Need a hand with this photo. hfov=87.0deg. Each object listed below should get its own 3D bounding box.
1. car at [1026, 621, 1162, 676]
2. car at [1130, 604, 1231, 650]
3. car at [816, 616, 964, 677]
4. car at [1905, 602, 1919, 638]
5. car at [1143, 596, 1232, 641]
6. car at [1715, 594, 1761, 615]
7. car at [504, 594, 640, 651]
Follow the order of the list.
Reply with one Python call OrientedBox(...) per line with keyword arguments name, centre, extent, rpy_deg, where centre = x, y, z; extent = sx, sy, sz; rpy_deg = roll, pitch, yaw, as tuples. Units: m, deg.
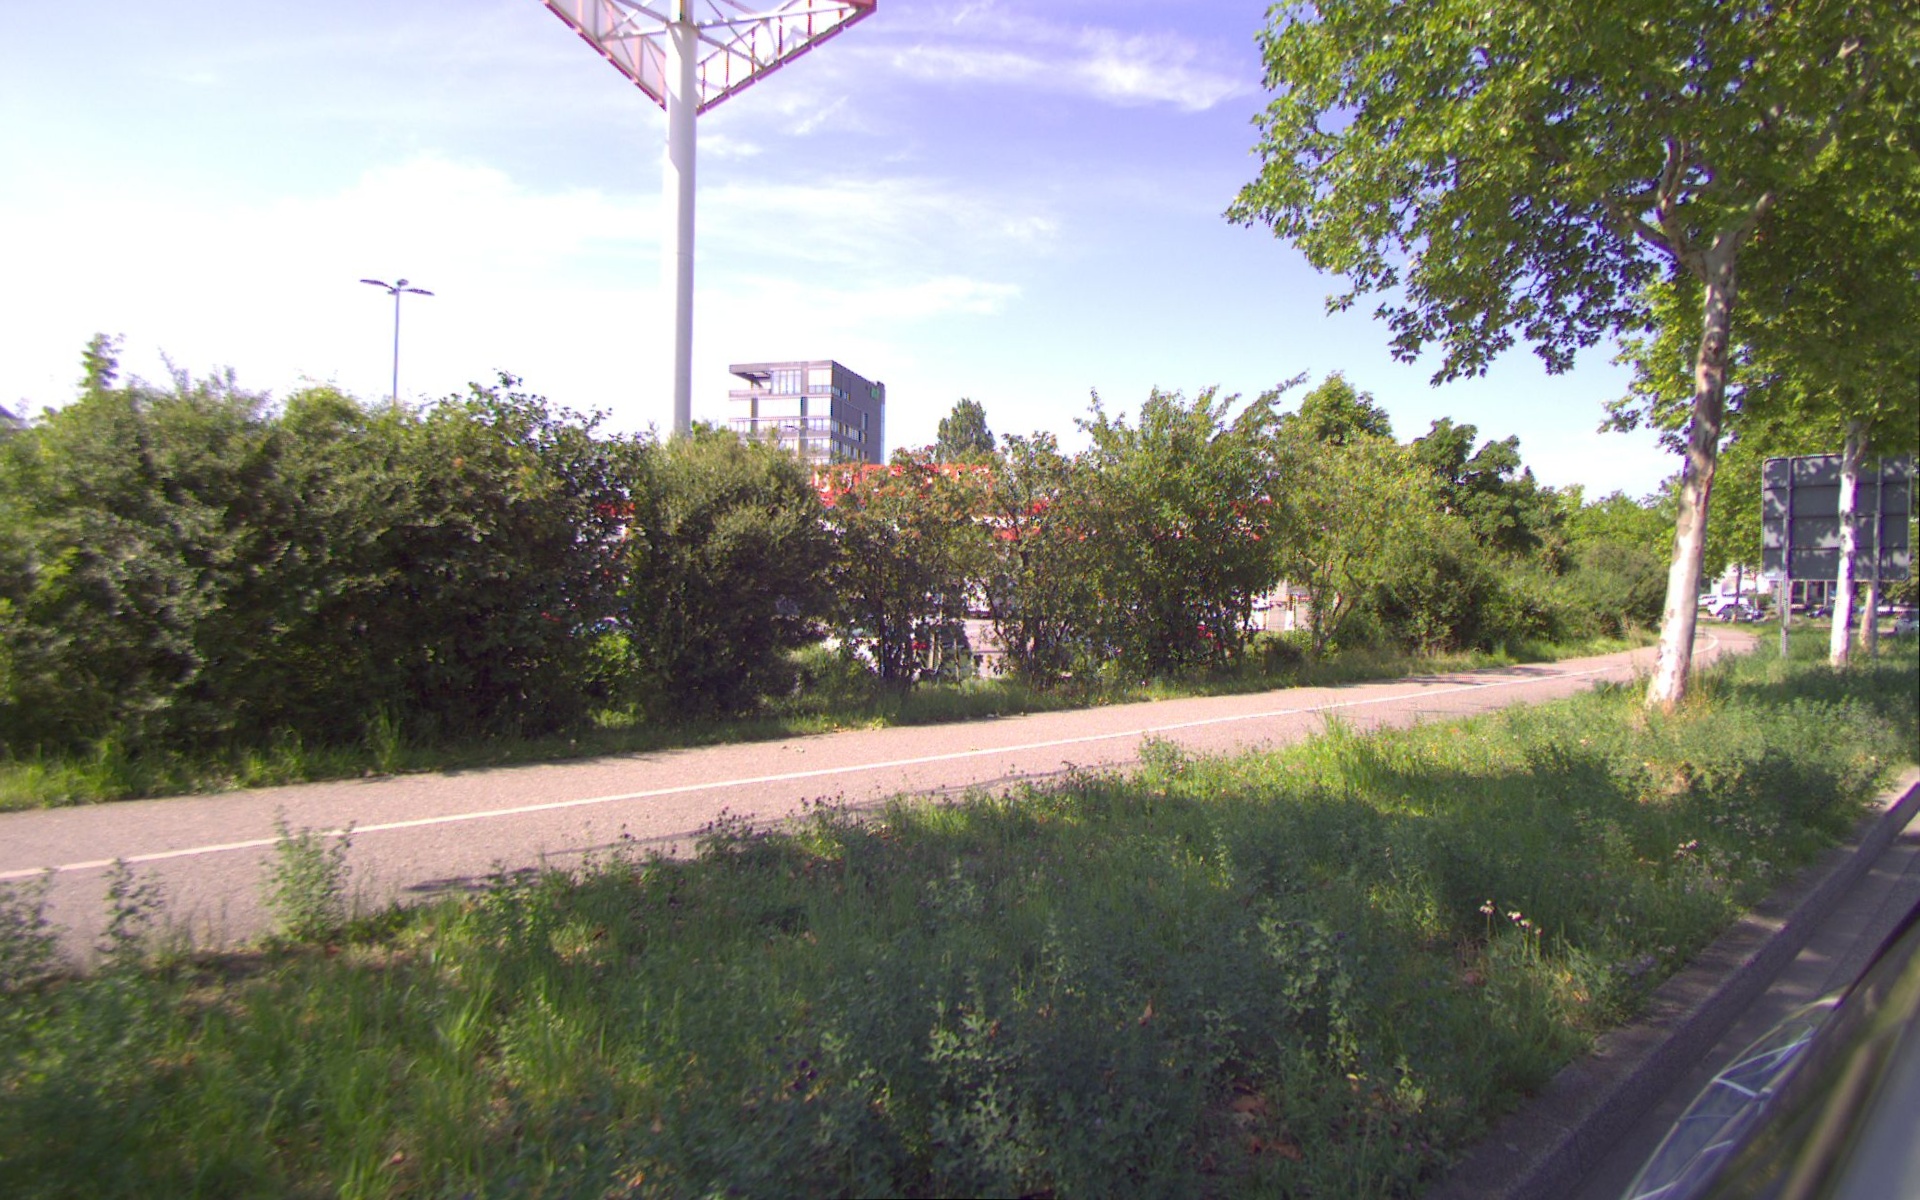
OrientedBox(name="car", centre=(3.732, 1.325, 28.644), extent=(1.711, 1.238, 3.588), rpy_deg=(0, 2, -41))
OrientedBox(name="car", centre=(7.888, 0.953, 36.213), extent=(3.438, 1.545, 1.594), rpy_deg=(-1, 1, 15))
OrientedBox(name="car", centre=(-1.671, 0.996, 22.977), extent=(1.174, 1.240, 3.966), rpy_deg=(0, 0, -41))
OrientedBox(name="car", centre=(43.174, 0.866, 44.463), extent=(1.813, 1.540, 4.156), rpy_deg=(0, 0, 34))
OrientedBox(name="car", centre=(8.651, 0.706, 38.496), extent=(3.190, 1.630, 1.532), rpy_deg=(-1, 1, 15))
OrientedBox(name="car", centre=(79.122, 0.414, 102.942), extent=(1.970, 2.039, 4.498), rpy_deg=(0, 0, 13))
OrientedBox(name="car", centre=(-11.661, 0.620, 30.726), extent=(1.971, 1.527, 3.983), rpy_deg=(1, 1, 14))
